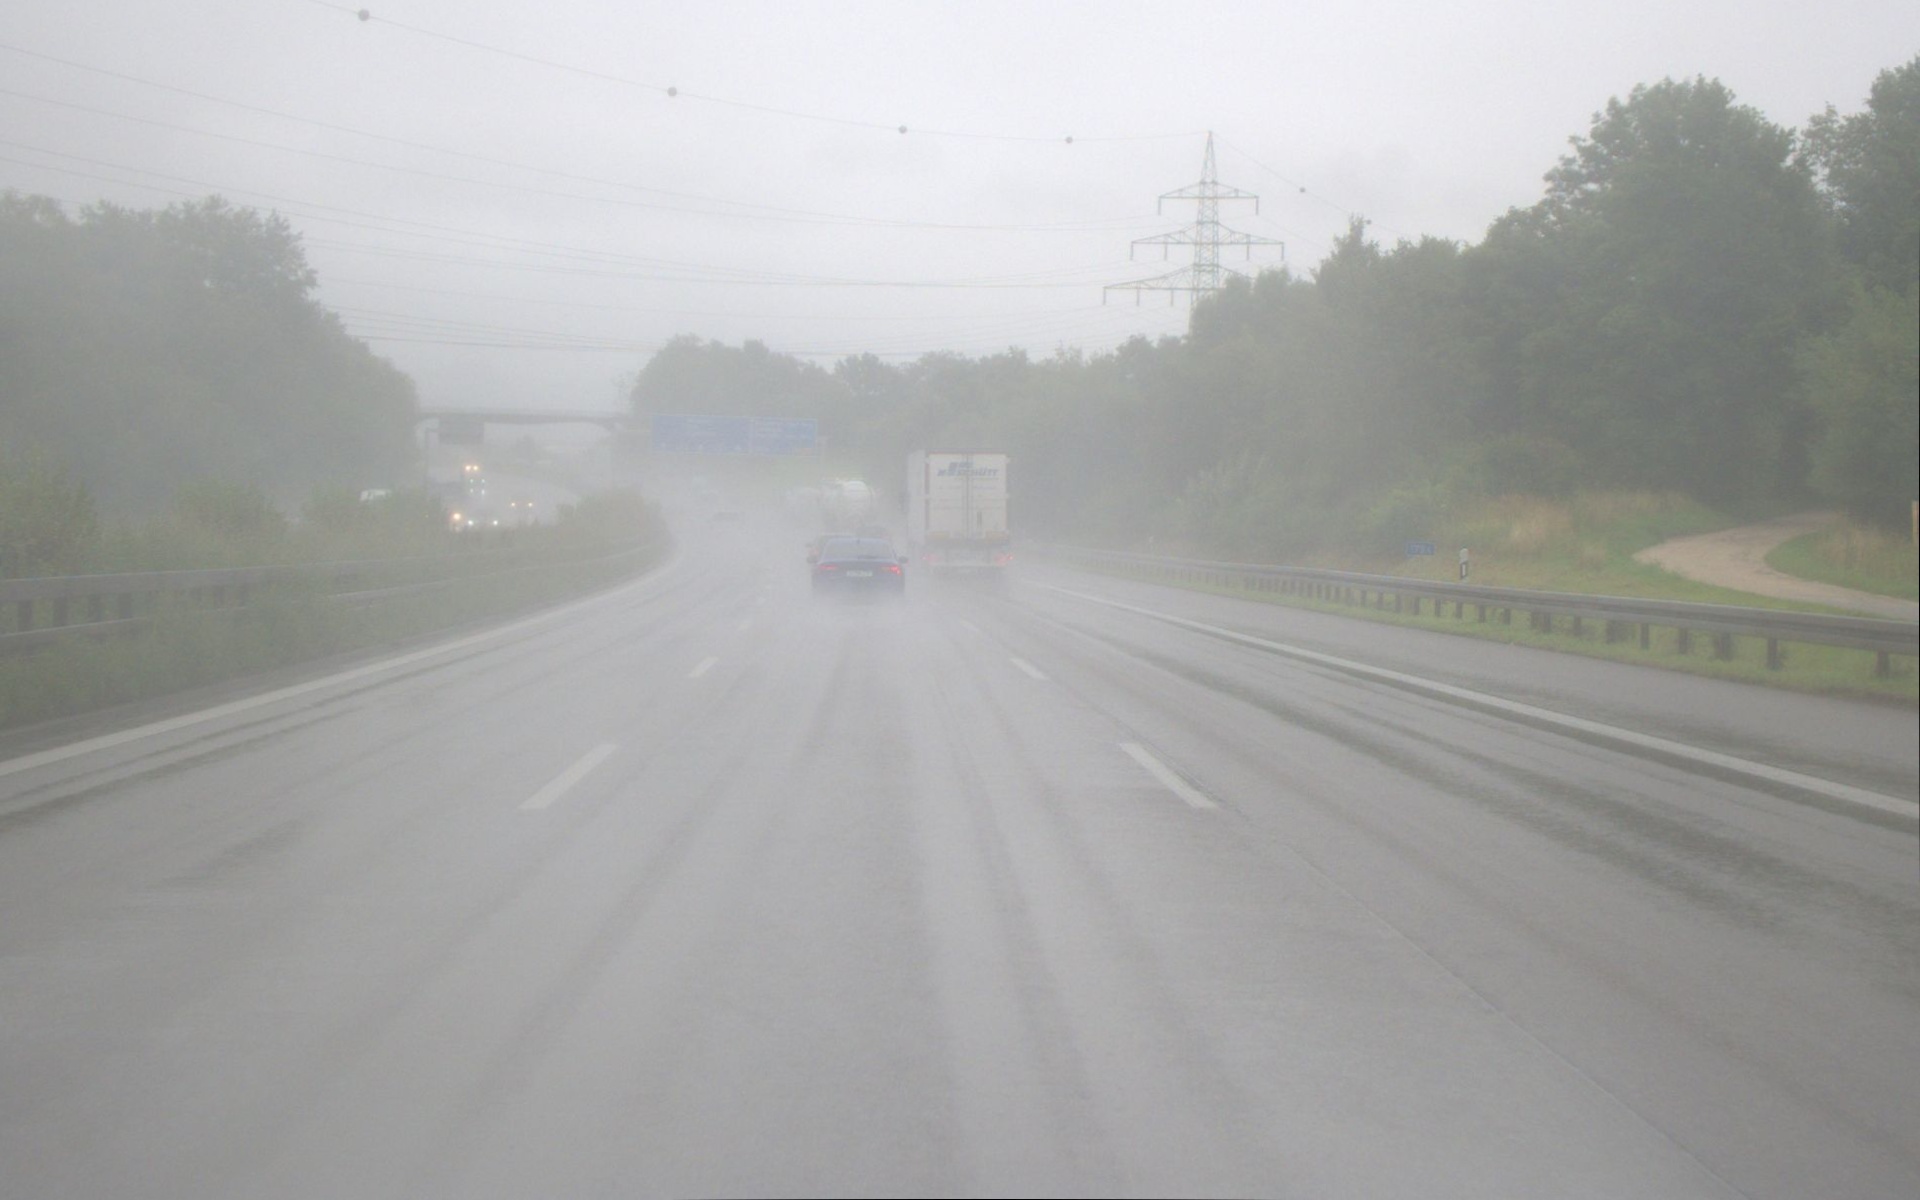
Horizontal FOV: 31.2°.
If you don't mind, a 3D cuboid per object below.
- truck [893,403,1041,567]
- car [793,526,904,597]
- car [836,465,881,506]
[{"bbox_3d":[0.420,-3.747,112.822,4.257,4.955,17.341,0,2,2],"label":"truck"},{"bbox_3d":[-2.113,-0.755,65.936,1.749,1.208,4.000,3,1,3],"label":"car"},{"bbox_3d":[-5.906,-6.661,199.635,2.393,2.264,5.003,2,2,-3],"label":"car"}]
